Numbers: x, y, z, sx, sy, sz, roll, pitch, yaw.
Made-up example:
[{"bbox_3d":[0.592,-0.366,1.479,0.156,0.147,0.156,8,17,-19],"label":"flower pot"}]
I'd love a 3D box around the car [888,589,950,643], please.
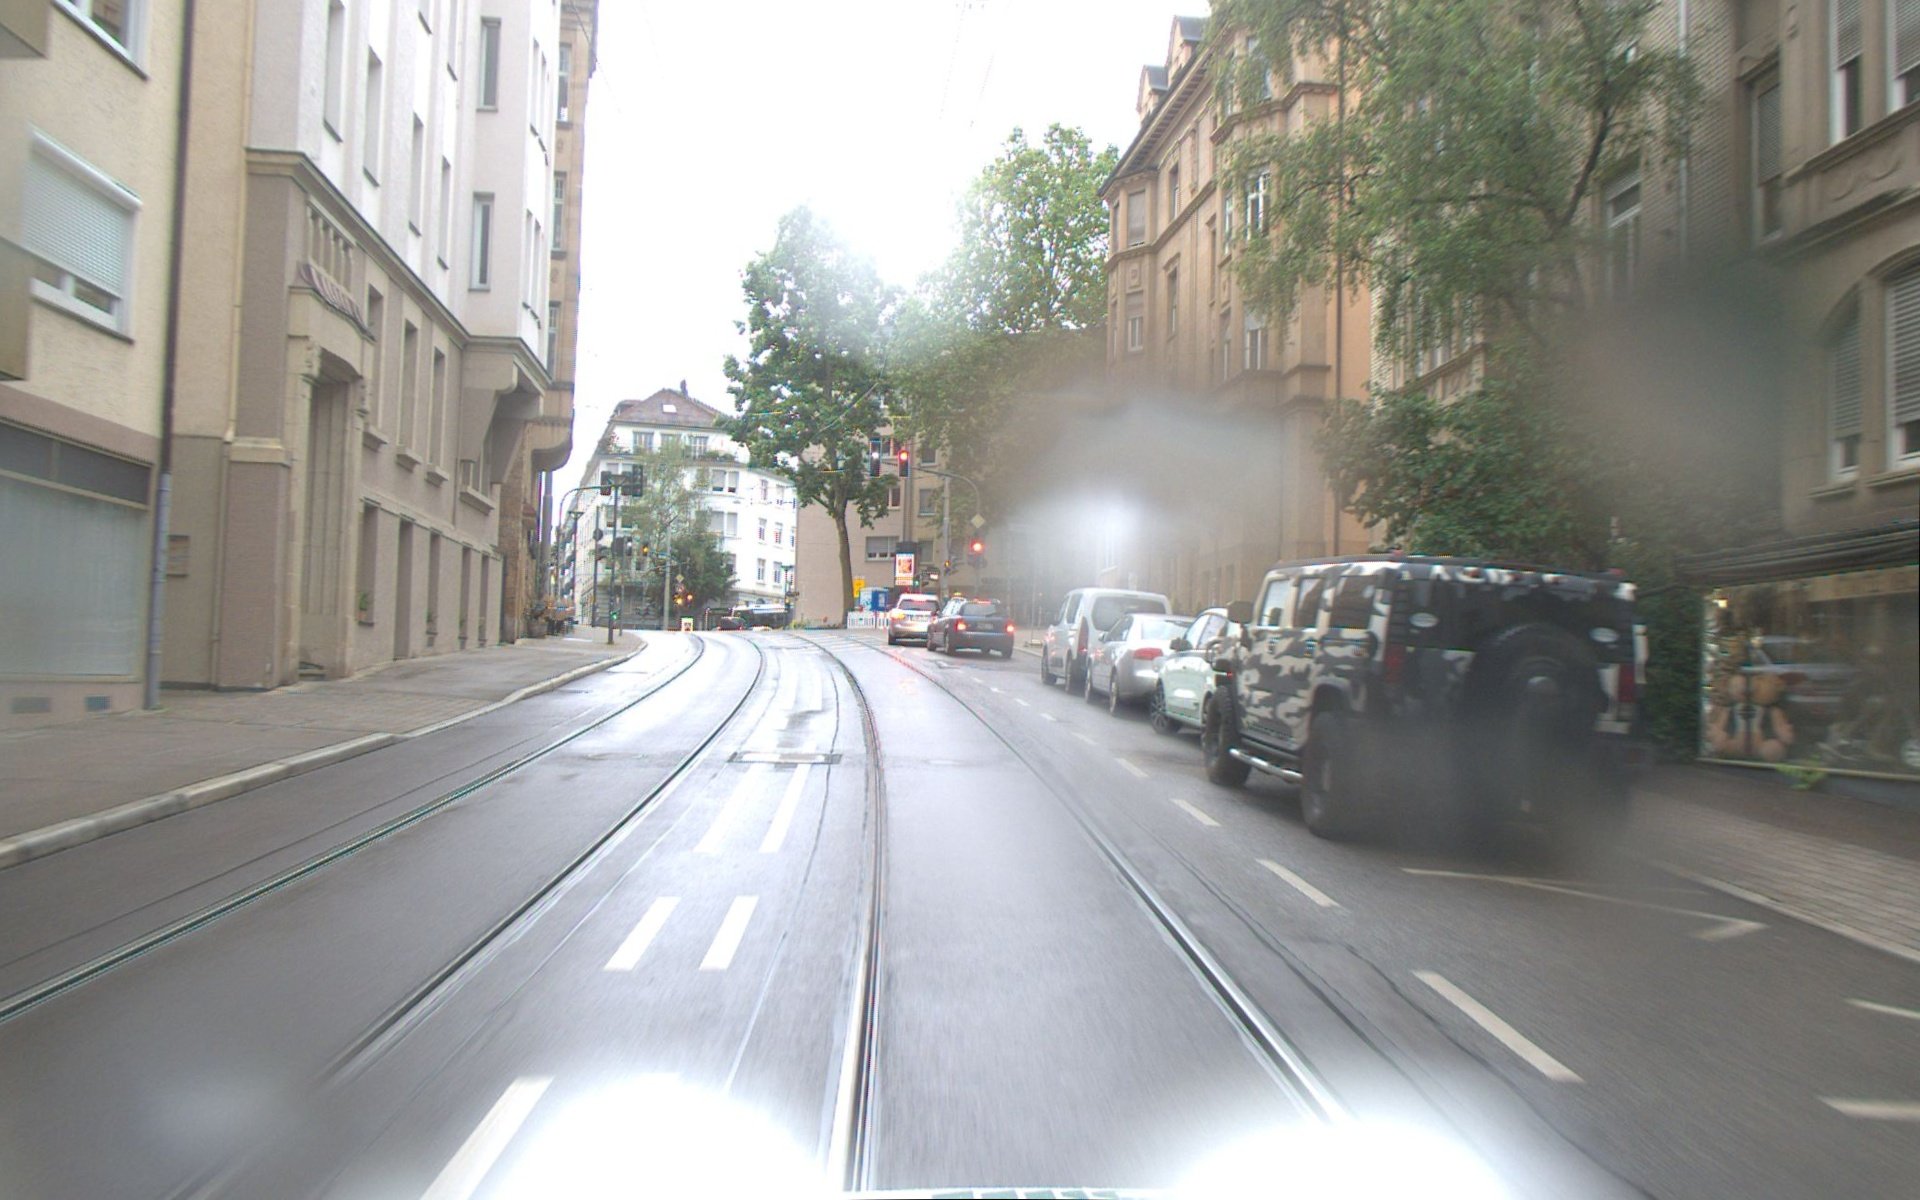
[{"bbox_3d":[-1.249,0.445,49.090,1.676,1.481,3.551,2,0,-3],"label":"car"}]

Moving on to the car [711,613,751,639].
[{"bbox_3d":[-14.553,1.615,105.251,1.757,1.537,4.002,-1,0,3],"label":"car"}]

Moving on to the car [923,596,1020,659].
[{"bbox_3d":[0.240,0.693,43.281,1.680,1.440,4.024,2,0,-12],"label":"car"}]

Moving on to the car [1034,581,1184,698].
[{"bbox_3d":[2.533,0.639,29.185,1.763,1.795,4.458,4,0,-5],"label":"car"}]

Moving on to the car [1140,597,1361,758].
[{"bbox_3d":[3.231,0.815,19.066,1.530,1.573,3.580,4,0,-6],"label":"car"}]

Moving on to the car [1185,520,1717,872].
[{"bbox_3d":[3.413,0.592,12.892,2.087,2.048,5.345,4,0,-5],"label":"car"}]

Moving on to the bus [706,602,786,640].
[{"bbox_3d":[-17.008,1.644,132.081,2.794,2.911,8.737,1,0,18],"label":"bus"}]

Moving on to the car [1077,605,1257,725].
[{"bbox_3d":[2.880,0.863,23.975,1.714,1.425,4.475,4,0,-4],"label":"car"}]
